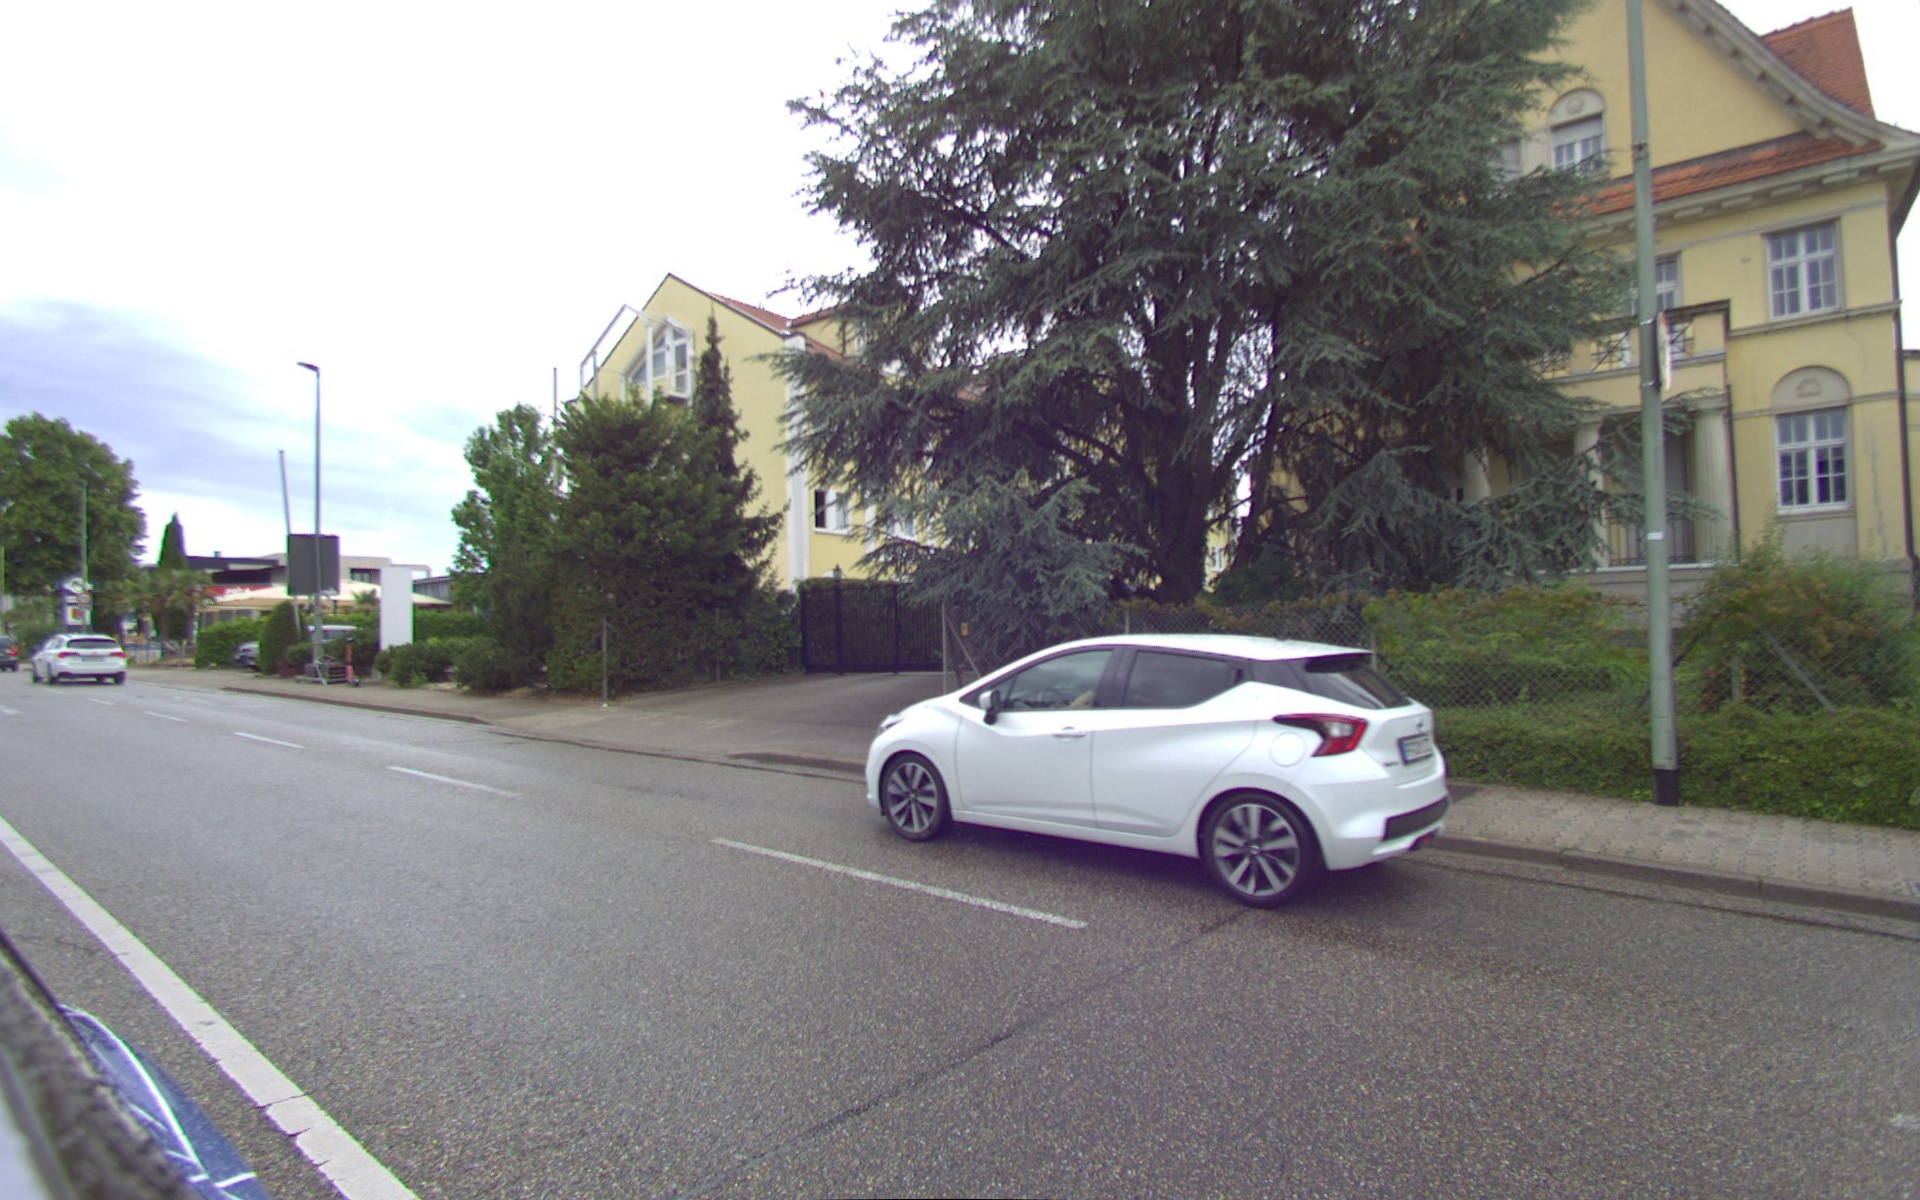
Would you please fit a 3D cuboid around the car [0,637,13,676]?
[{"bbox_3d":[-41.742,2.429,43.146,3.548,1.611,1.681,-2,-1,41],"label":"car"}]

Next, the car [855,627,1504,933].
[{"bbox_3d":[1.250,0.910,6.633,3.800,1.408,1.728,-1,-4,41],"label":"car"}]

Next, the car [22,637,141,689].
[{"bbox_3d":[-26.685,1.876,30.702,4.303,1.465,1.948,-2,-4,39],"label":"car"}]

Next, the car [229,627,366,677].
[{"bbox_3d":[-23.795,1.814,36.424,3.876,1.664,1.720,1,-2,-44],"label":"car"}]

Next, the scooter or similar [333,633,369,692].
[{"bbox_3d":[-15.327,1.539,25.463,0.498,1.416,1.884,1,-2,-39],"label":"scooter or similar"}]
